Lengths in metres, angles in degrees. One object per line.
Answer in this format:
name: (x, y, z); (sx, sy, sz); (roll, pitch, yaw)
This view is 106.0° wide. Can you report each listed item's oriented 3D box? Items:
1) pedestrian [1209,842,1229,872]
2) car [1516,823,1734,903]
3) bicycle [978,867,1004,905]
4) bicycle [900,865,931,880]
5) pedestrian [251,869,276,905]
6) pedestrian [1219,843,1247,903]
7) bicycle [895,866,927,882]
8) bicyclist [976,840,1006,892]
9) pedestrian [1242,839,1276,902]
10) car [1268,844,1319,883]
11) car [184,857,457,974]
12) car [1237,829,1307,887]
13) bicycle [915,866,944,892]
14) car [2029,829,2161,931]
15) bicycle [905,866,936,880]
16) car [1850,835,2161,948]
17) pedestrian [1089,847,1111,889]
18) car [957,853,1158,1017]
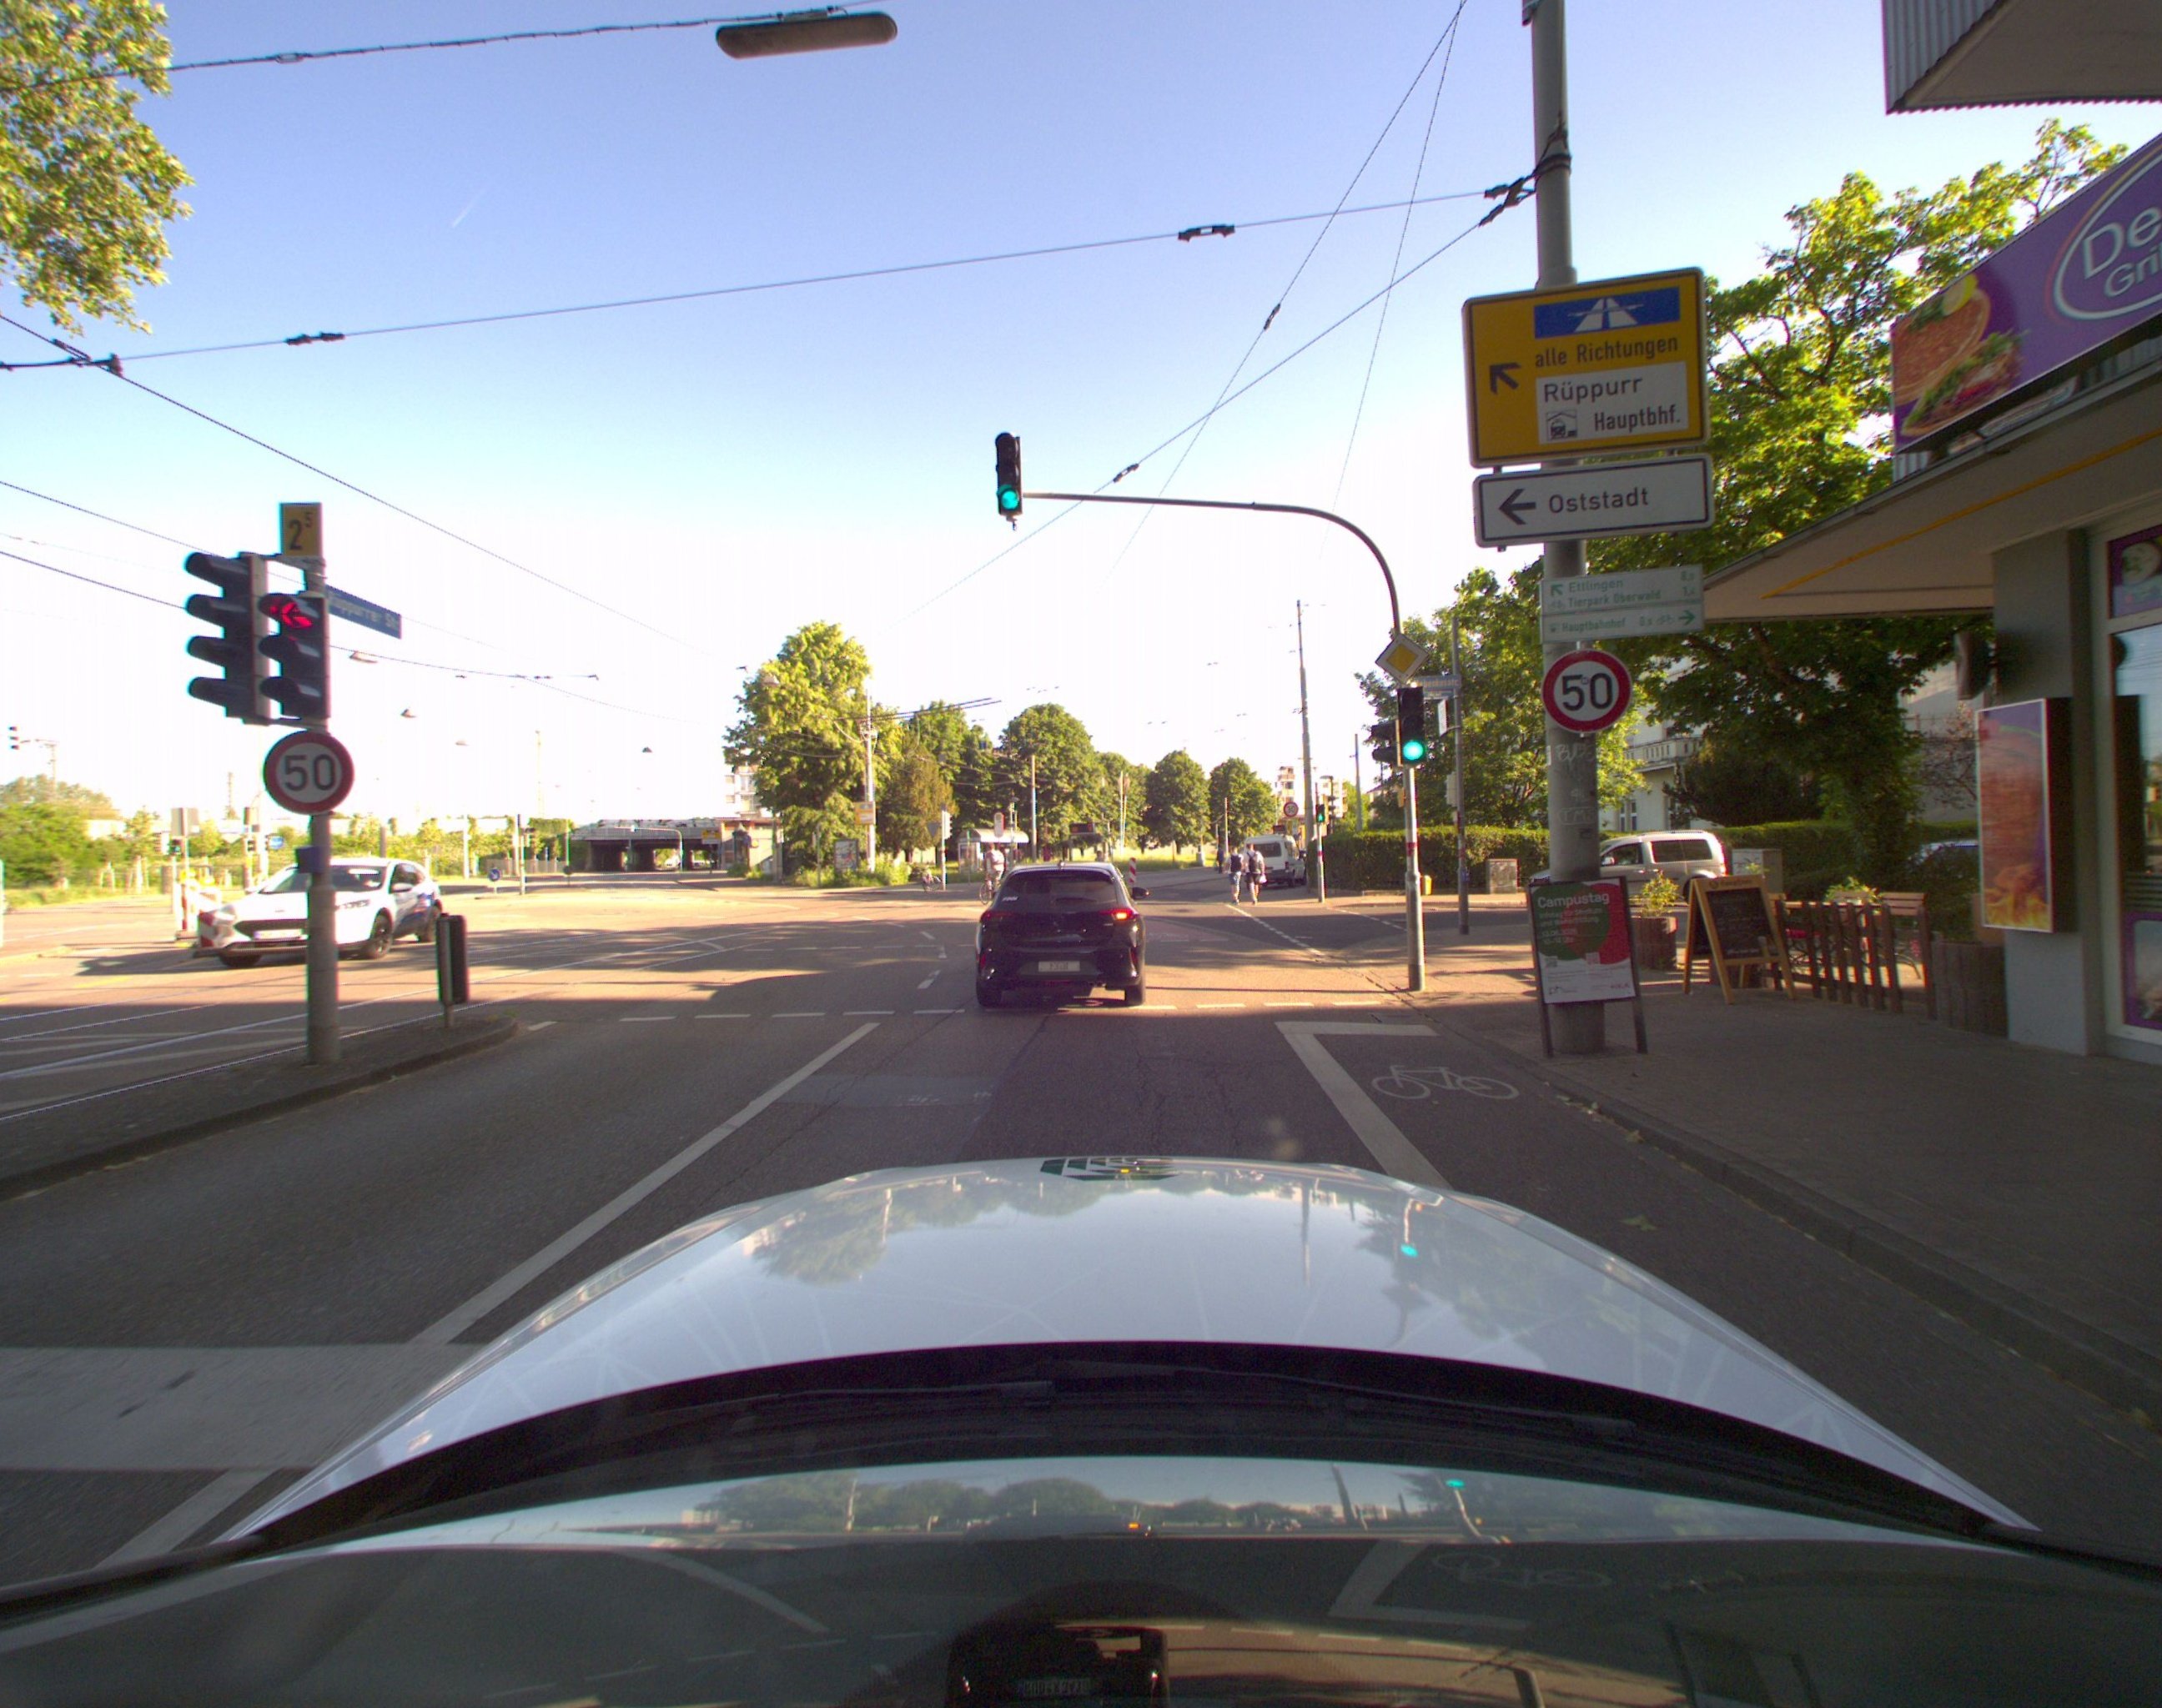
pedestrian: (8.701, 0.185, 51.211); (0.949, 1.793, 1.001); (-1, 0, 25)
car: (13.605, 0.272, 20.613); (4.153, 1.814, 1.810); (-2, -3, 8)
bicycle: (-2.751, 0.957, 24.776); (0.667, 1.059, 2.075); (-1, 0, -9)
bicycle: (-10.731, 1.214, 52.767); (1.867, 0.906, 0.661); (-1, 0, 6)
pedestrian: (-37.208, 1.488, 37.080); (0.602, 1.596, 0.679); (0, -1, -26)
pedestrian: (4.617, 0.572, 24.712); (0.696, 1.792, 0.617); (-1, 0, -1)
bicycle: (-10.817, 1.273, 51.781); (1.867, 0.906, 0.661); (-1, 0, 6)
bicyclist: (-2.745, 0.361, 24.718); (0.840, 1.510, 1.365); (-1, 0, -8)
pedestrian: (5.299, 0.489, 24.279); (0.696, 1.846, 0.705); (-2, 0, 39)
car: (10.266, 0.437, 39.144); (1.784, 1.763, 3.912); (-1, 0, 22)
car: (-12.812, 0.894, 14.173); (2.002, 1.631, 4.594); (-1, 0, -24)
car: (8.115, 0.204, 34.303); (2.071, 2.277, 4.330); (-1, -1, 24)
bicycle: (-6.434, 1.049, 34.653); (0.822, 1.059, 1.884); (-1, 0, 2)
car: (18.001, 0.400, 12.808); (1.704, 1.618, 3.907); (-1, 0, 2)
bicycle: (-10.588, 1.260, 53.640); (1.867, 0.906, 0.661); (-1, 0, 6)
car: (15.537, 0.517, 13.565); (1.698, 1.581, 4.037); (-1, 0, 2)
pedestrian: (0.773, 0.564, 33.382); (0.699, 1.693, 0.725); (-1, 0, -12)
car: (-0.178, 0.738, 9.377); (1.794, 1.441, 3.940); (-1, 0, 1)
